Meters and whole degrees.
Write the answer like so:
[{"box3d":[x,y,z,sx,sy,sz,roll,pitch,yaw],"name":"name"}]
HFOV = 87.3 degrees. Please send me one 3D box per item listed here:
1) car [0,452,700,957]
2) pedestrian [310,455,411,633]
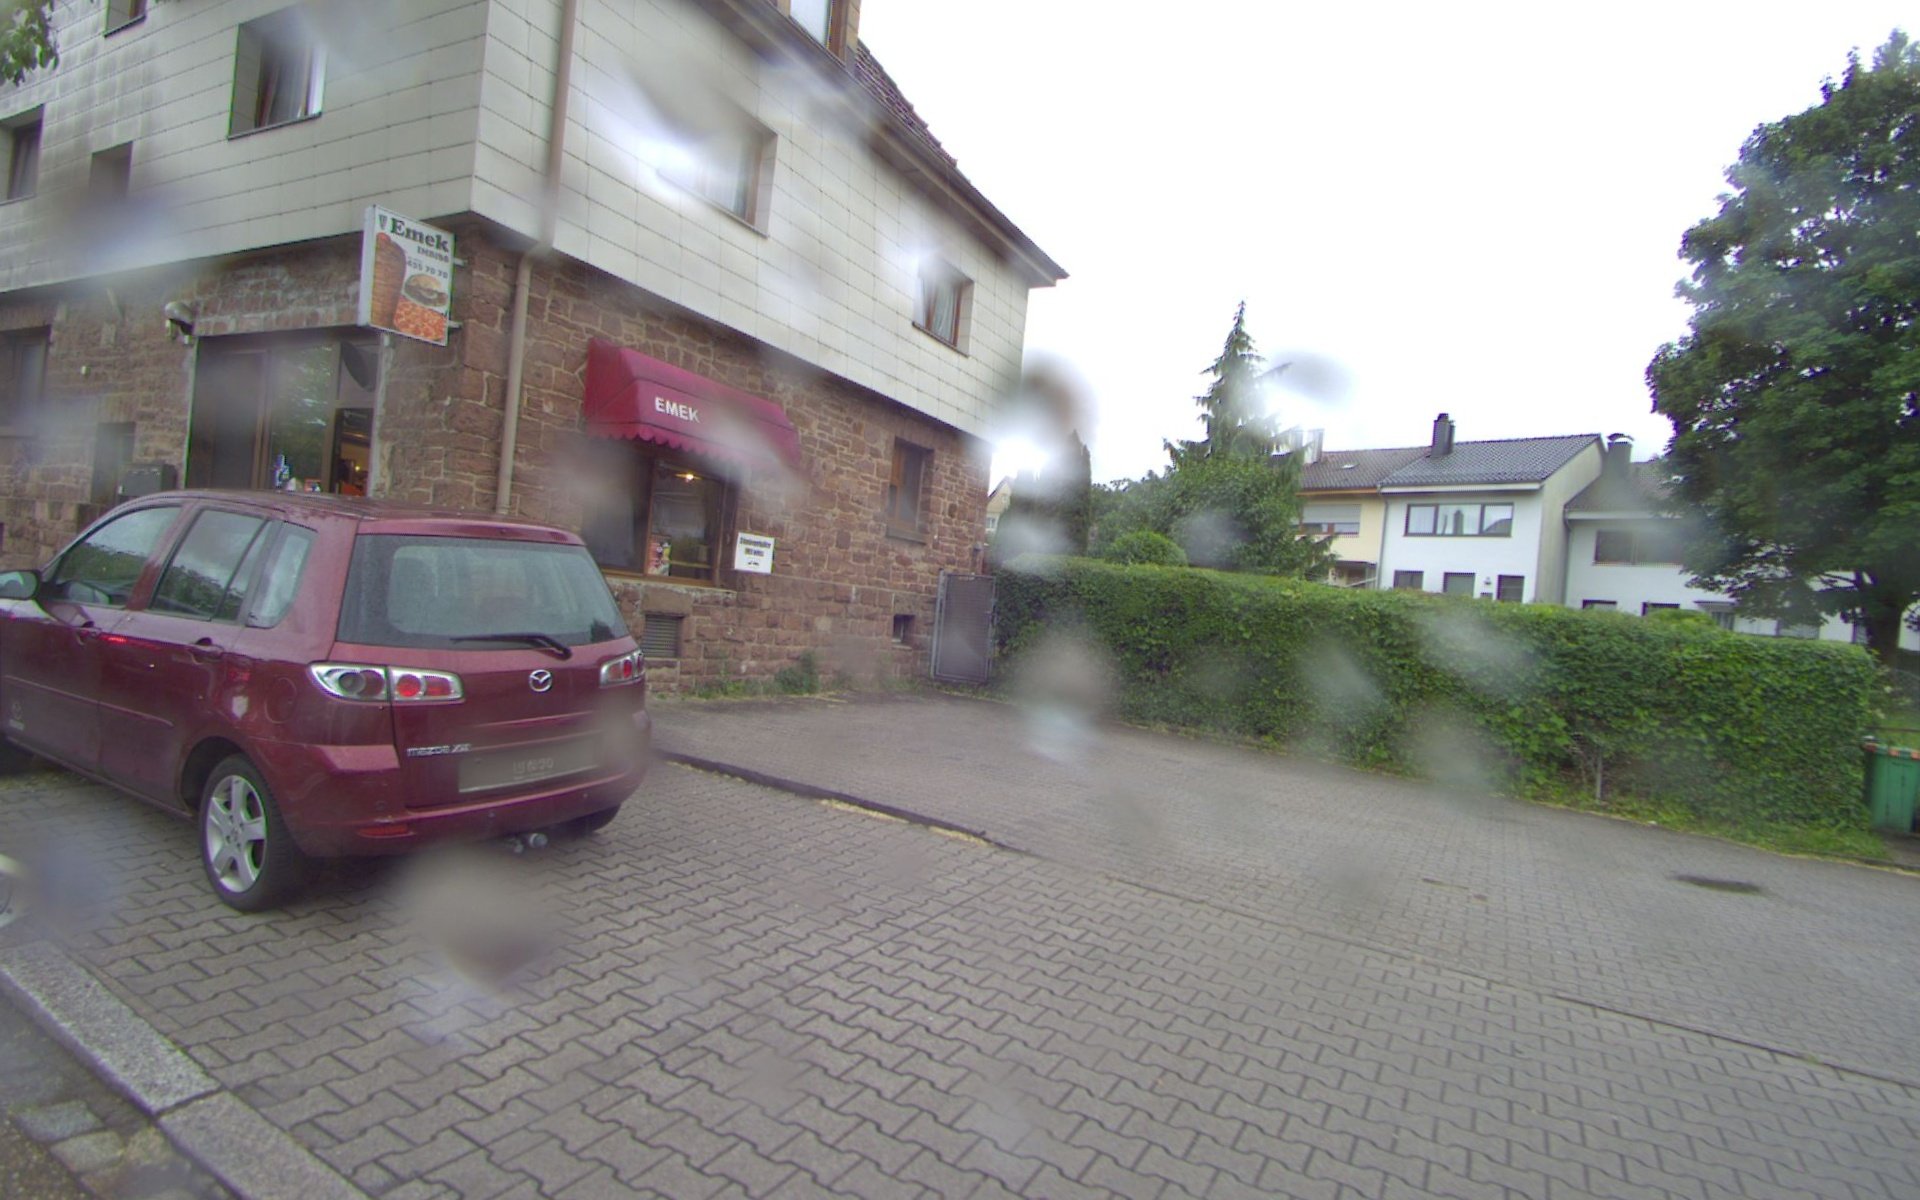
[{"box3d":[-3.182,0.213,4.764,3.564,1.511,1.585,8,3,28],"name":"car"},{"box3d":[-6.628,-0.605,11.132,0.475,1.862,0.638,8,1,31],"name":"pedestrian"}]
